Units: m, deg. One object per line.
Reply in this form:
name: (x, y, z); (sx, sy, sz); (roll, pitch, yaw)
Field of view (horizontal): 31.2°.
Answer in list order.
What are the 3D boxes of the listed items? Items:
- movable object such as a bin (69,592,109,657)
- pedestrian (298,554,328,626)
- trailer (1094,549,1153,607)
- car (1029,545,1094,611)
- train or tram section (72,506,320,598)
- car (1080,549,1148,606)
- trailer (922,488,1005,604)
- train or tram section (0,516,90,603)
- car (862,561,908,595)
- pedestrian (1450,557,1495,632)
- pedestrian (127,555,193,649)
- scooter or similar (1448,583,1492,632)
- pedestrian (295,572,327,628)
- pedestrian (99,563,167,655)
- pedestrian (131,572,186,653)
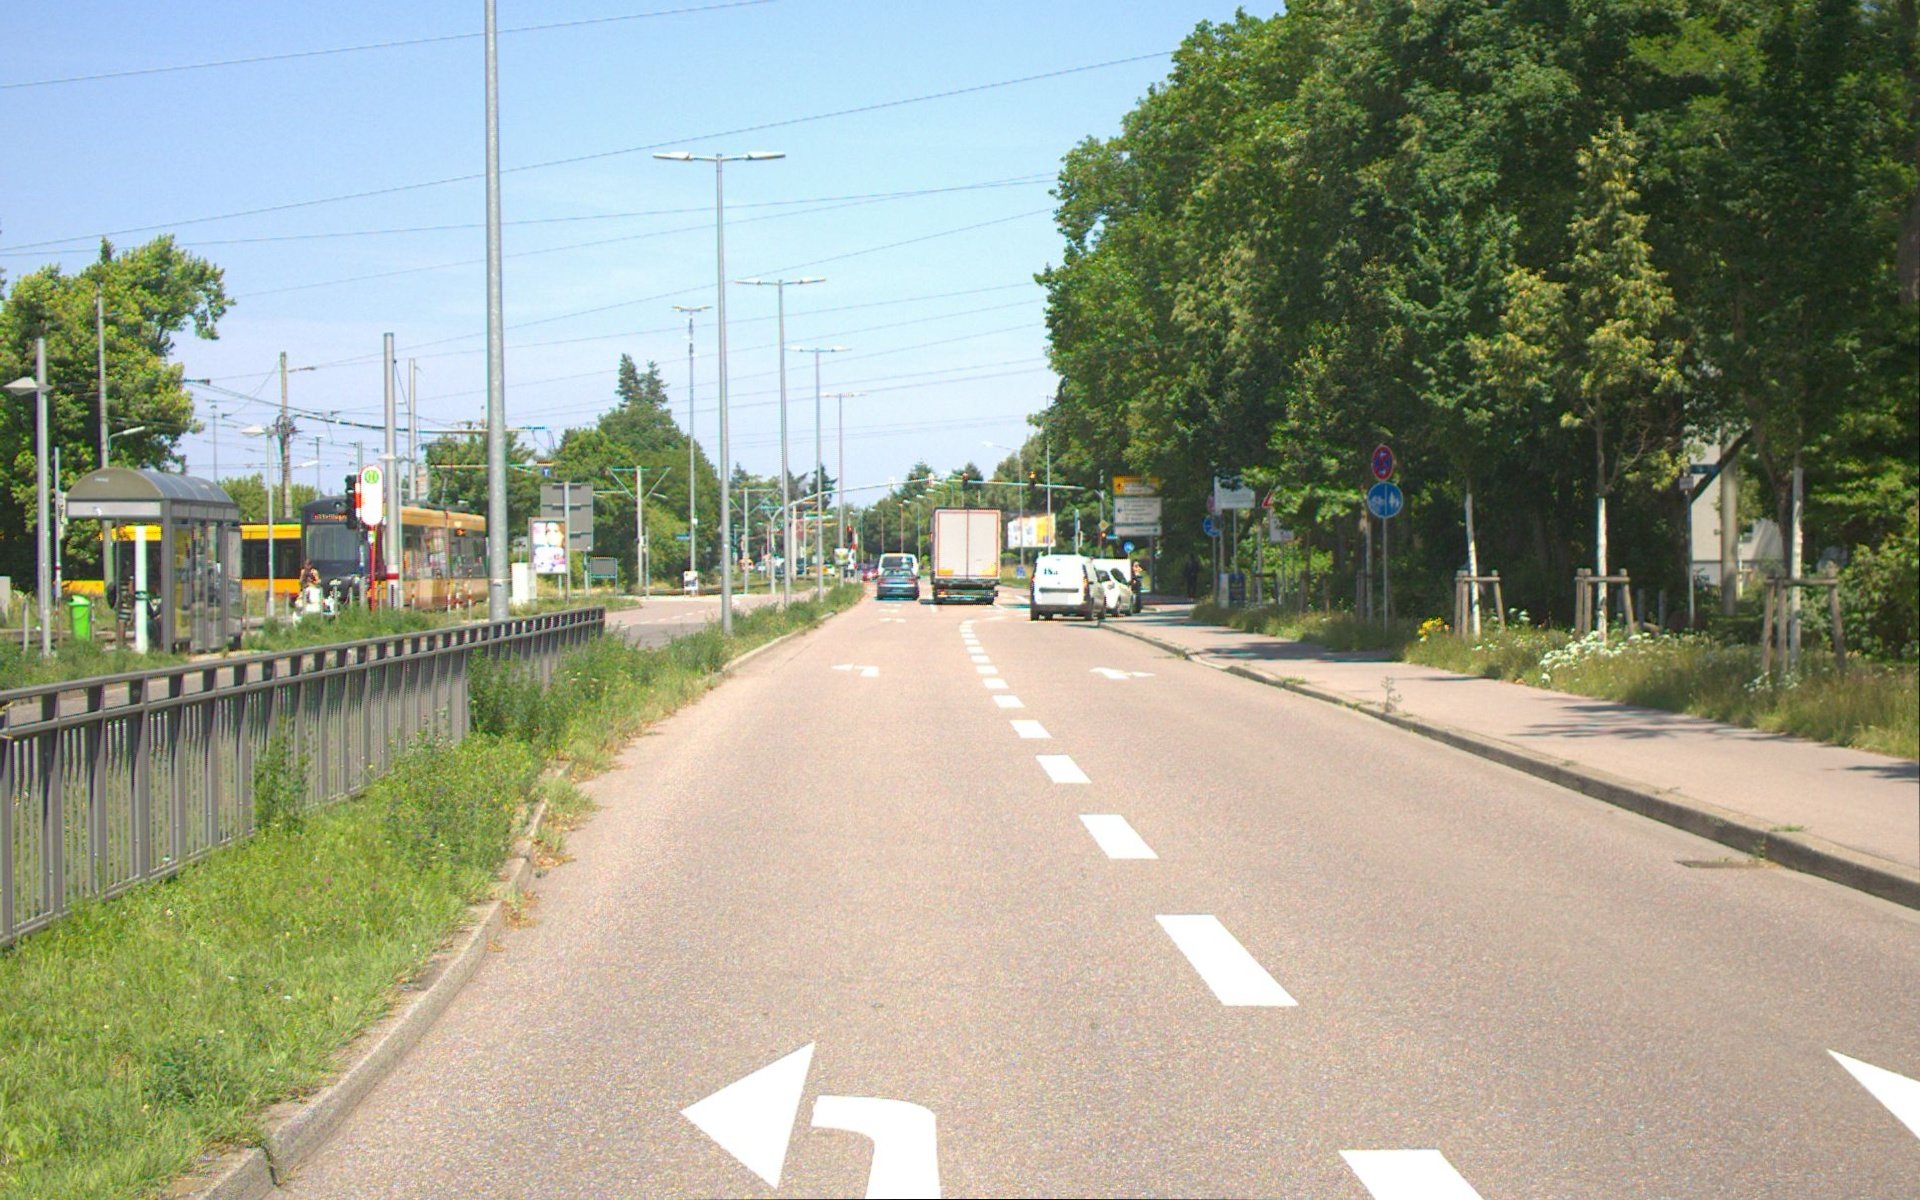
movable object such as a bin: (-13.146, 0.365, 51.867); (0.481, 0.974, 0.645); (0, 0, -5)
pedestrian: (-14.015, -0.221, 74.442); (0.534, 1.560, 0.582); (1, 1, -2)
trailer: (4.786, -0.656, 100.744); (1.468, 1.663, 2.856); (1, 1, -2)
car: (2.832, -0.629, 95.029); (1.709, 1.741, 4.427); (1, 1, 2)
train or tram section: (-30.386, -1.937, 136.180); (12.742, 3.454, 3.038); (2, 1, 44)
car: (4.656, -0.696, 104.374); (1.699, 1.648, 4.399); (1, 1, -2)
trailer: (0.087, -2.121, 136.392); (2.827, 4.406, 8.750); (1, 1, -2)
train or tram section: (-42.511, -1.756, 140.263); (13.219, 3.454, 3.047); (1, 1, -5)
car: (-3.240, -0.943, 147.497); (1.892, 1.367, 4.430); (2, 1, -1)
pedestrian: (9.637, -0.106, 64.601); (0.708, 1.393, 0.763); (1, 1, 0)
pedestrian: (-13.320, 0.030, 57.248); (0.874, 1.541, 1.026); (1, 1, -3)
scooter or similar: (9.653, 0.139, 65.113); (0.708, 0.890, 0.763); (1, 1, 0)
pedestrian: (-13.792, -0.003, 73.043); (0.580, 1.185, 0.536); (1, 1, -3)
pedestrian: (-14.045, 0.145, 58.384); (0.930, 1.541, 0.985); (1, 1, -3)
pedestrian: (-12.900, 0.192, 55.362); (0.701, 1.279, 0.840); (1, 1, -3)
